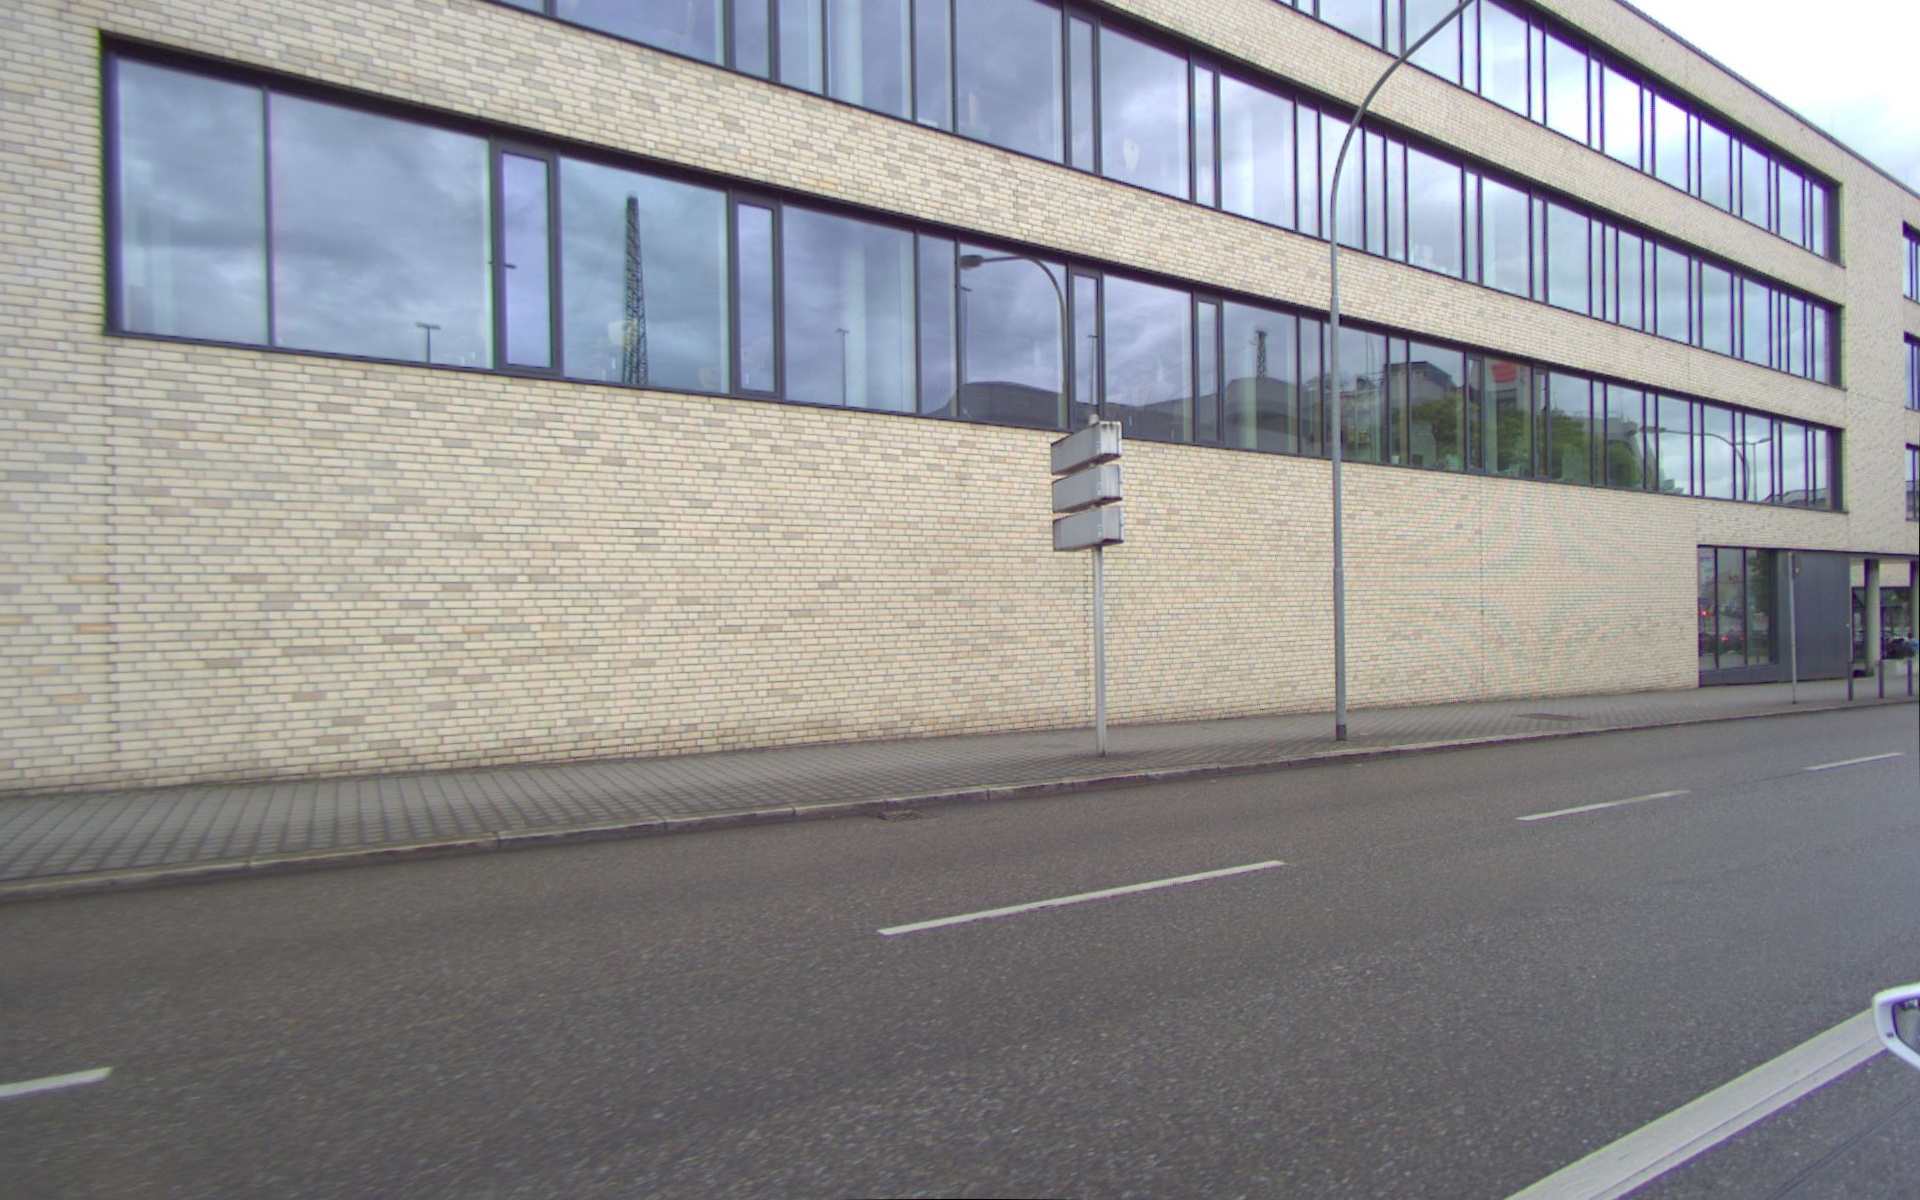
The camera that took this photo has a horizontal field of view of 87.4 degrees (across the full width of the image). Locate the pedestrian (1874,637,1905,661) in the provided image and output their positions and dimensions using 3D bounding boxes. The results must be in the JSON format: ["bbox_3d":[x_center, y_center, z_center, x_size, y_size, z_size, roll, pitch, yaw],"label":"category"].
[{"bbox_3d":[32.655,1.713,35.280,0.751,0.796,0.595,2,0,-30],"label":"pedestrian"}]

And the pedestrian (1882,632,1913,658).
[{"bbox_3d":[33.451,1.594,35.836,0.518,0.897,0.678,2,0,-30],"label":"pedestrian"}]

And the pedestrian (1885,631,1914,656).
[{"bbox_3d":[33.495,1.547,35.806,0.719,0.856,0.583,2,-1,-30],"label":"pedestrian"}]
